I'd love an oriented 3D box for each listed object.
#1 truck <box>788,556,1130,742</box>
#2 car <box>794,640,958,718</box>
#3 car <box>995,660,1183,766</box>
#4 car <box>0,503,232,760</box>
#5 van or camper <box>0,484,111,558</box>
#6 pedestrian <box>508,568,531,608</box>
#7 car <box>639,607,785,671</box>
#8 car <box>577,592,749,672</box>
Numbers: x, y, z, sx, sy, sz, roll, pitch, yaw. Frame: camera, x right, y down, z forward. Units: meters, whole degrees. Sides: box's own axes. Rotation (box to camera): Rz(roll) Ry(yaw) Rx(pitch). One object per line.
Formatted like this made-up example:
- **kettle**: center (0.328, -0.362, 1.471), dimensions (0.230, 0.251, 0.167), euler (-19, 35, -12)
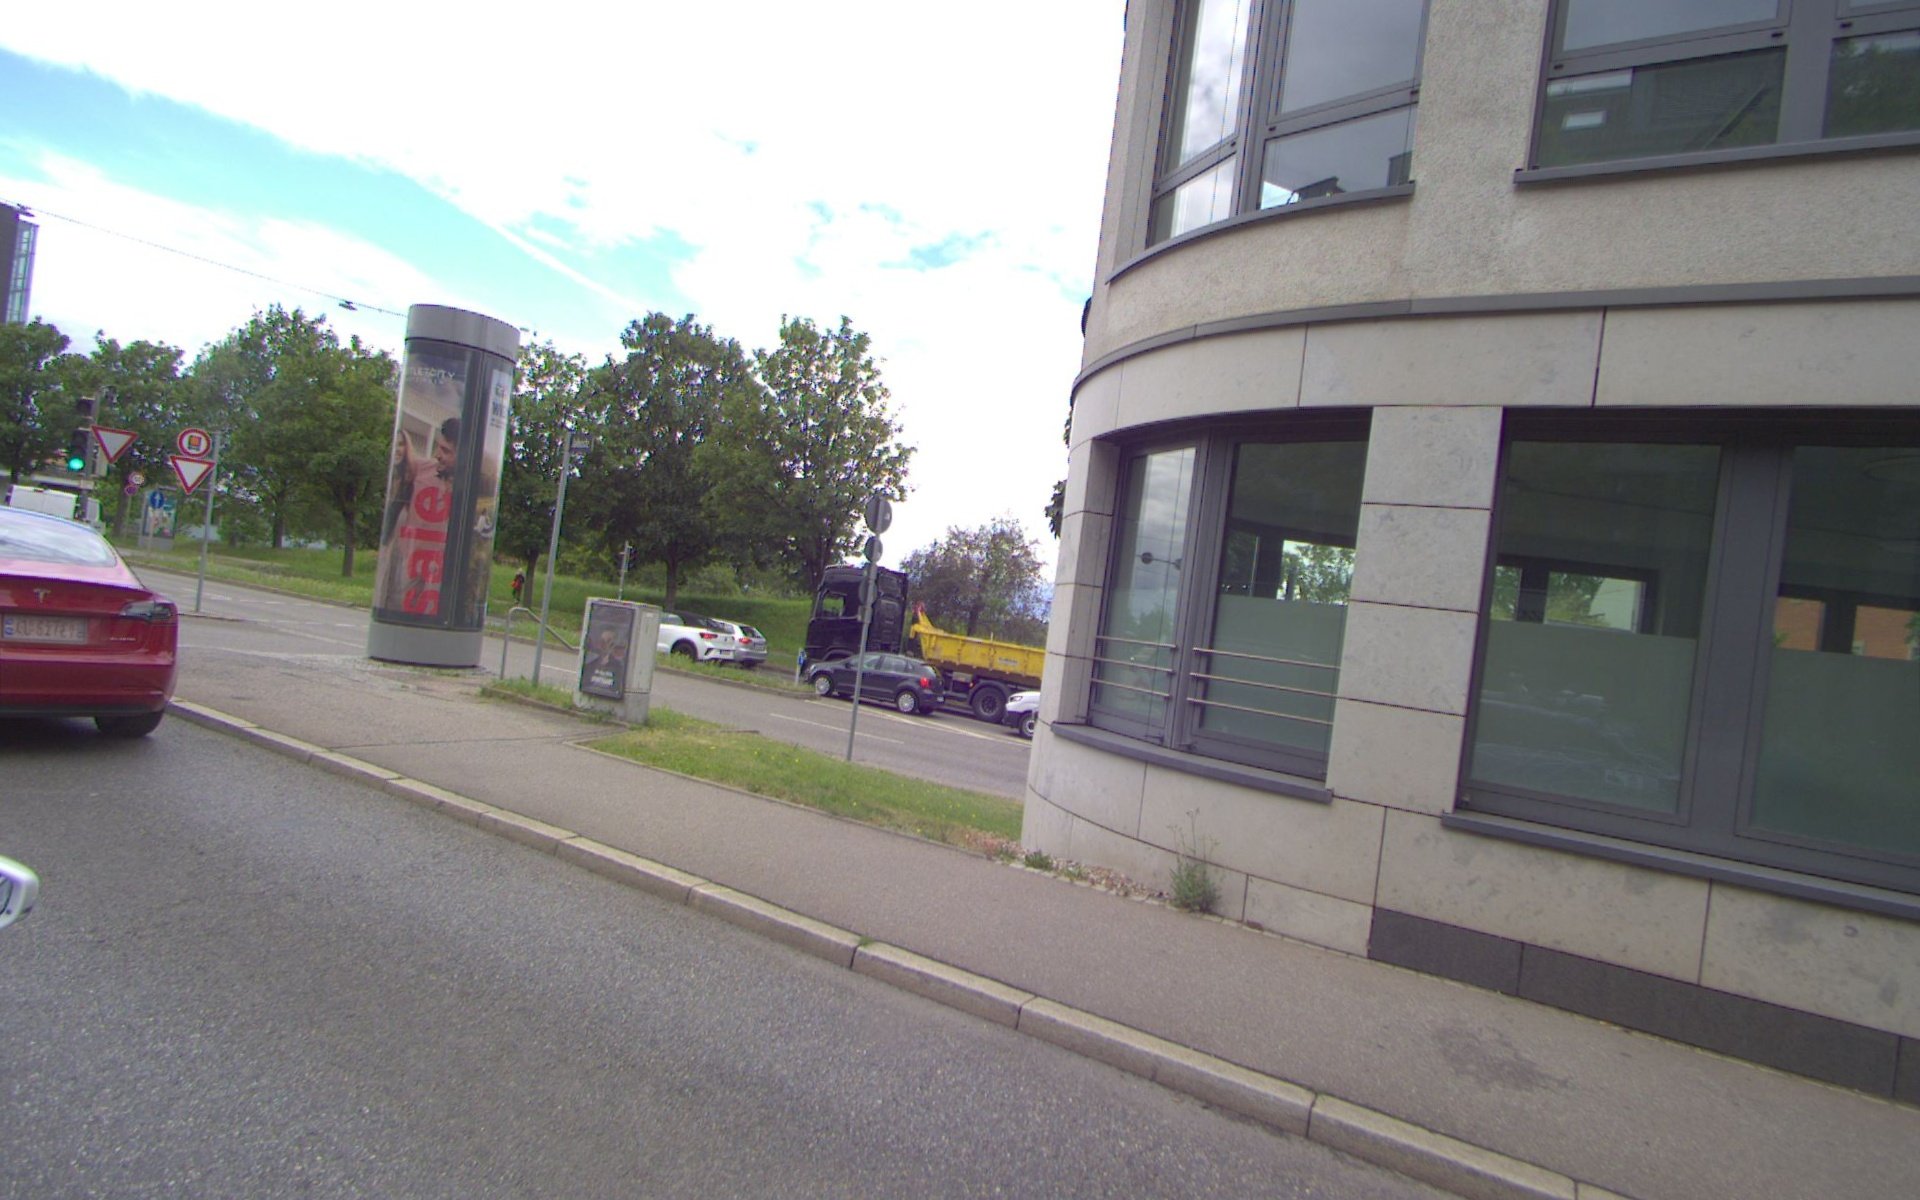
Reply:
- **truck**: center (-0.043, 1.359, 29.716), dimensions (9.280, 3.969, 2.832), euler (8, -2, 18)
- **car**: center (-2.230, 2.105, 26.886), dimensions (3.903, 1.389, 1.656), euler (8, -2, 19)
- **car**: center (3.231, 2.758, 24.999), dimensions (4.206, 1.817, 1.758), euler (9, -2, 17)
- **car**: center (-7.126, -0.023, 6.879), dimensions (4.369, 1.434, 1.877), euler (7, -3, 32)
- **van or camper**: center (-29.423, -2.519, 32.600), dimensions (1.980, 1.940, 4.373), euler (9, -1, -31)
- **pedestrian**: center (-19.230, -0.529, 43.919), dimensions (0.691, 1.626, 0.540), euler (9, 5, 34)
- **car**: center (-8.093, 1.281, 32.905), dimensions (4.081, 1.458, 1.992), euler (8, -2, 19)
- **car**: center (-8.654, 0.932, 29.349), dimensions (4.404, 1.547, 1.858), euler (9, -2, 19)
